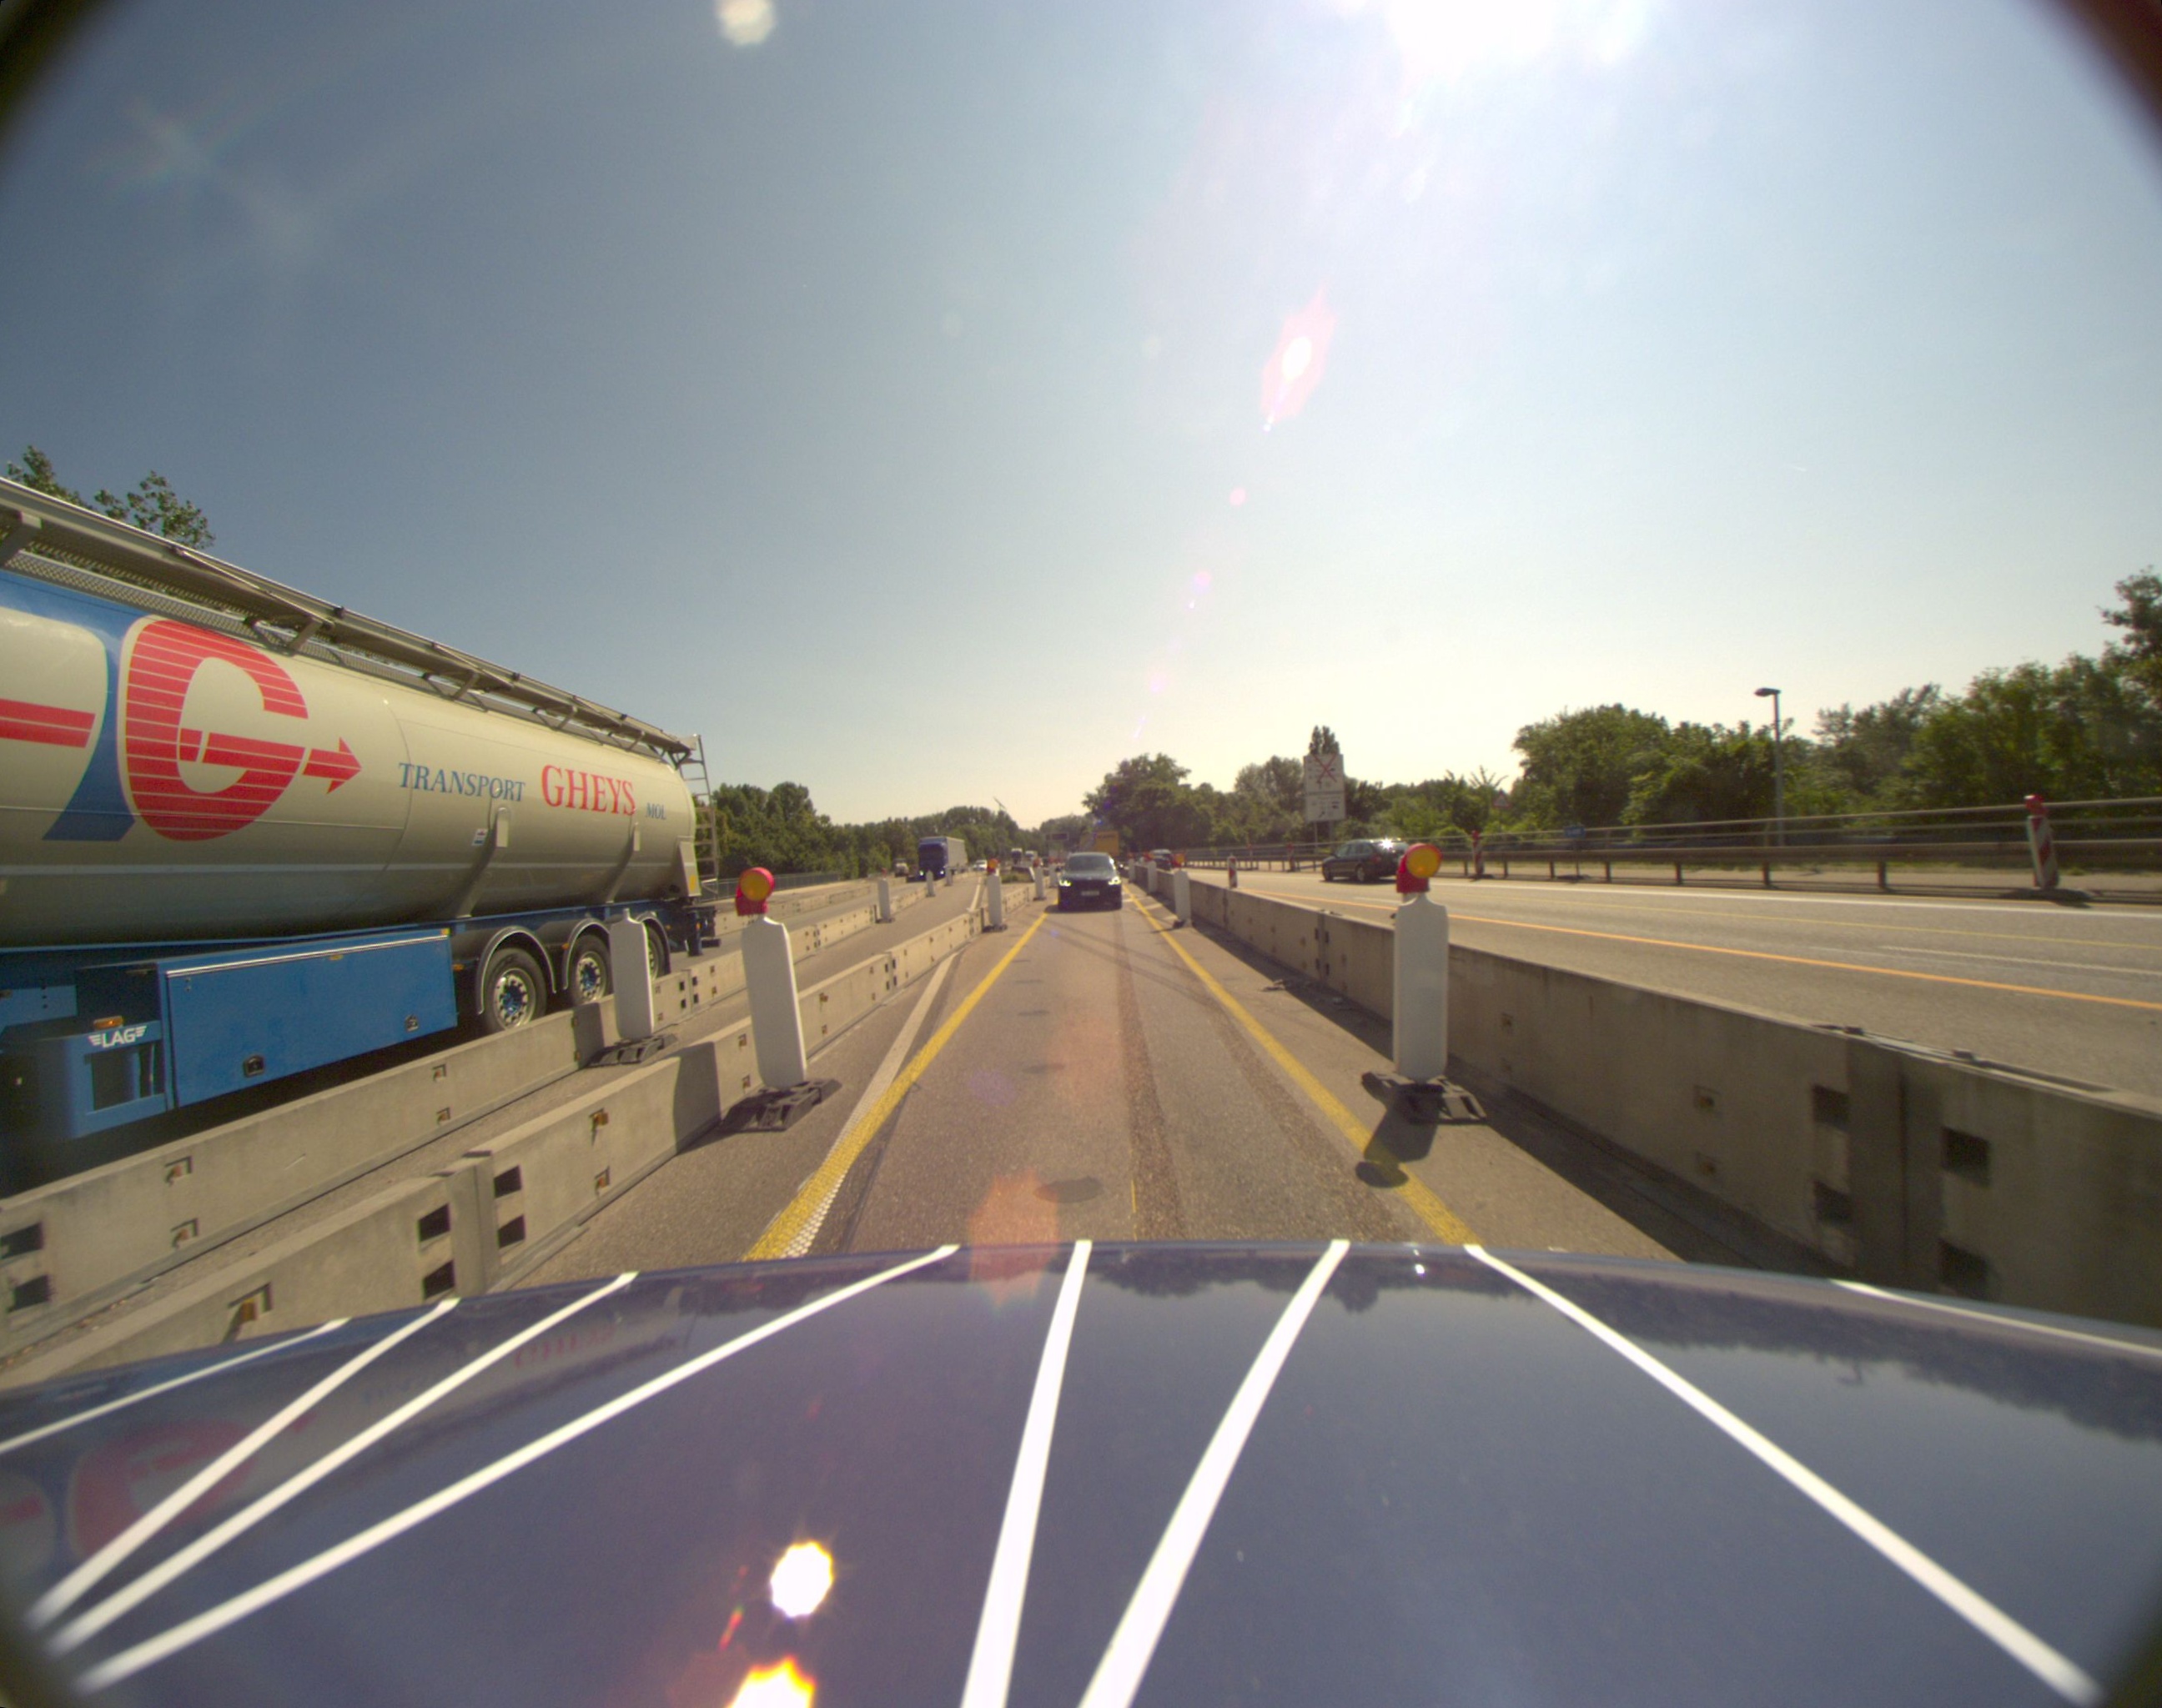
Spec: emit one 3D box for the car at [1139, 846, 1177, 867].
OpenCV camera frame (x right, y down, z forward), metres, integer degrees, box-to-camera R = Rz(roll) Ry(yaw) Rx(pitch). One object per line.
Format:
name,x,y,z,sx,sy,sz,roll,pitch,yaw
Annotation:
car,6.012,0.196,59.762,1.938,1.499,4.466,-4,0,-7

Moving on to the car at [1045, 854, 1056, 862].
car,-6.193,0.825,155.572,1.868,1.622,4.563,-4,0,-6

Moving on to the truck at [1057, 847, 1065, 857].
truck,-6.432,-0.675,242.479,1.868,3.188,6.810,-4,0,-6

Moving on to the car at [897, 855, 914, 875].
car,-25.276,1.529,109.390,2.111,2.627,5.979,-3,0,-12

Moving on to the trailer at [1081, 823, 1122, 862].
trailer,2.244,-1.287,90.578,2.769,4.112,14.522,-3,0,-6

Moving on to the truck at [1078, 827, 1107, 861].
truck,1.435,-1.296,97.638,2.758,4.112,6.411,-3,1,-6

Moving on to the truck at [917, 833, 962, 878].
truck,-13.586,0.100,73.745,2.861,3.962,8.663,-3,0,-2

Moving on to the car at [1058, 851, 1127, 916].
car,0.274,0.813,23.595,1.789,1.651,4.485,-6,1,-2

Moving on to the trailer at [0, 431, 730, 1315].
trailer,-6.674,0.107,6.286,2.702,4.113,12.607,-3,0,-6

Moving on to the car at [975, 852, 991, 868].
car,-13.737,0.806,106.214,1.999,2.002,3.998,-3,1,-6

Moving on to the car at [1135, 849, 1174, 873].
car,4.775,0.425,49.814,1.694,1.368,4.270,-4,0,-6

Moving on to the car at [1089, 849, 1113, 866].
car,2.006,0.331,76.922,1.796,1.559,3.870,-4,0,-7

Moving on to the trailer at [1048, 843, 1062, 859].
trailer,-7.253,-0.844,209.068,2.812,4.019,13.461,-3,0,-5

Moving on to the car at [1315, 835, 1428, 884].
car,10.098,0.172,26.865,1.672,1.434,4.994,-4,0,-4
